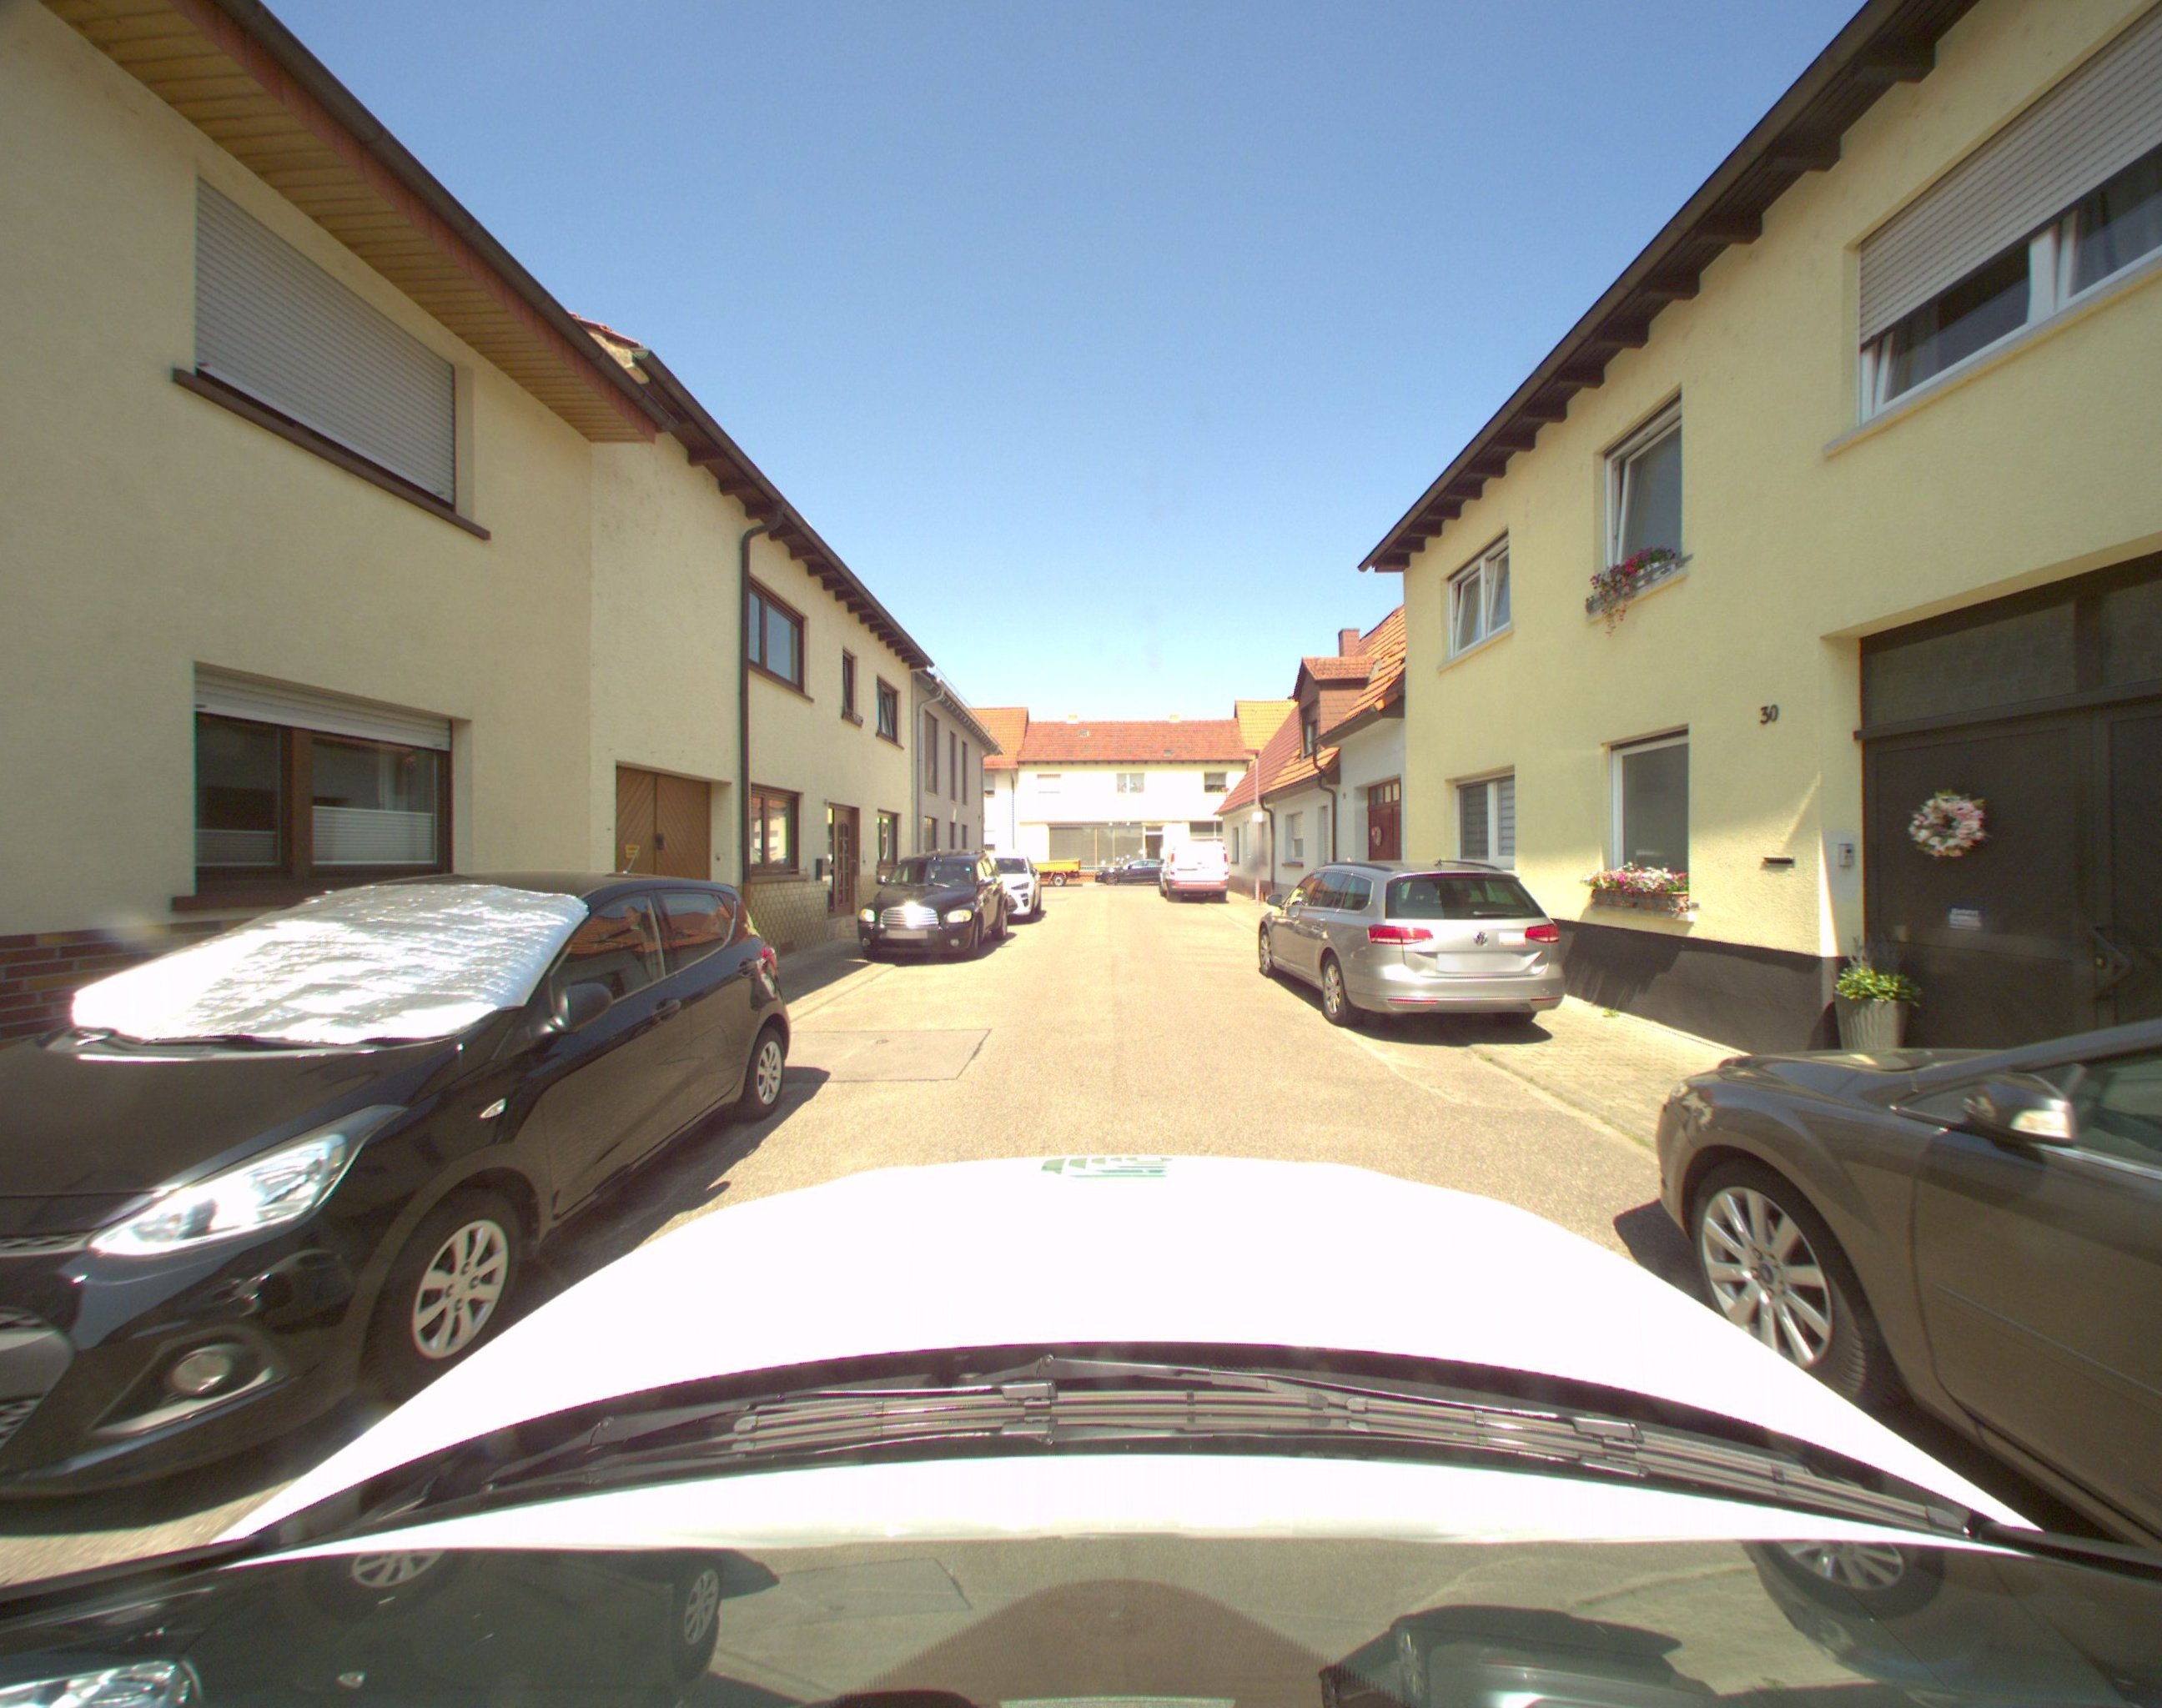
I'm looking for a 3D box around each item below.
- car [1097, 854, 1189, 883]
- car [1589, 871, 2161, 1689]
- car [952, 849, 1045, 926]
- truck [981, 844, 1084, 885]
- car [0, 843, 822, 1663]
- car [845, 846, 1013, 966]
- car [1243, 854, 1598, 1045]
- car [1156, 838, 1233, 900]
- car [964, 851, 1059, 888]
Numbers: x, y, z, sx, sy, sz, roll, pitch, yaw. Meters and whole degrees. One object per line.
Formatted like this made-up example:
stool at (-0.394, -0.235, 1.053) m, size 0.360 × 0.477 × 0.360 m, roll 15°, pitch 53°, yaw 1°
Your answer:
car at (3.101, 0.773, 41.642) m, size 4.601 × 1.394 × 1.927 m, roll 0°, pitch -3°, yaw 0°
car at (2.784, 0.785, 1.103) m, size 1.691 × 1.435 × 4.103 m, roll 0°, pitch 0°, yaw 1°
car at (-1.870, 0.724, 19.642) m, size 1.768 × 1.615 × 4.348 m, roll -2°, pitch 0°, yaw 0°
truck at (-2.401, 0.541, 41.669) m, size 5.044 × 2.014 × 2.190 m, roll 0°, pitch -1°, yaw 1°
car at (-2.603, 0.776, 3.507) m, size 1.634 × 1.537 × 3.942 m, roll -2°, pitch 0°, yaw 1°
car at (-2.264, 0.721, 13.222) m, size 1.715 × 1.615 × 3.993 m, roll -2°, pitch 0°, yaw 3°
car at (3.085, 0.740, 8.638) m, size 1.832 × 1.448 × 4.776 m, roll 0°, pitch 0°, yaw 1°
car at (3.681, 0.455, 27.214) m, size 2.005 × 1.839 × 5.267 m, roll 0°, pitch 0°, yaw 2°
car at (-3.267, 0.730, 37.785) m, size 4.225 × 1.583 × 1.774 m, roll -2°, pitch 0°, yaw 36°
